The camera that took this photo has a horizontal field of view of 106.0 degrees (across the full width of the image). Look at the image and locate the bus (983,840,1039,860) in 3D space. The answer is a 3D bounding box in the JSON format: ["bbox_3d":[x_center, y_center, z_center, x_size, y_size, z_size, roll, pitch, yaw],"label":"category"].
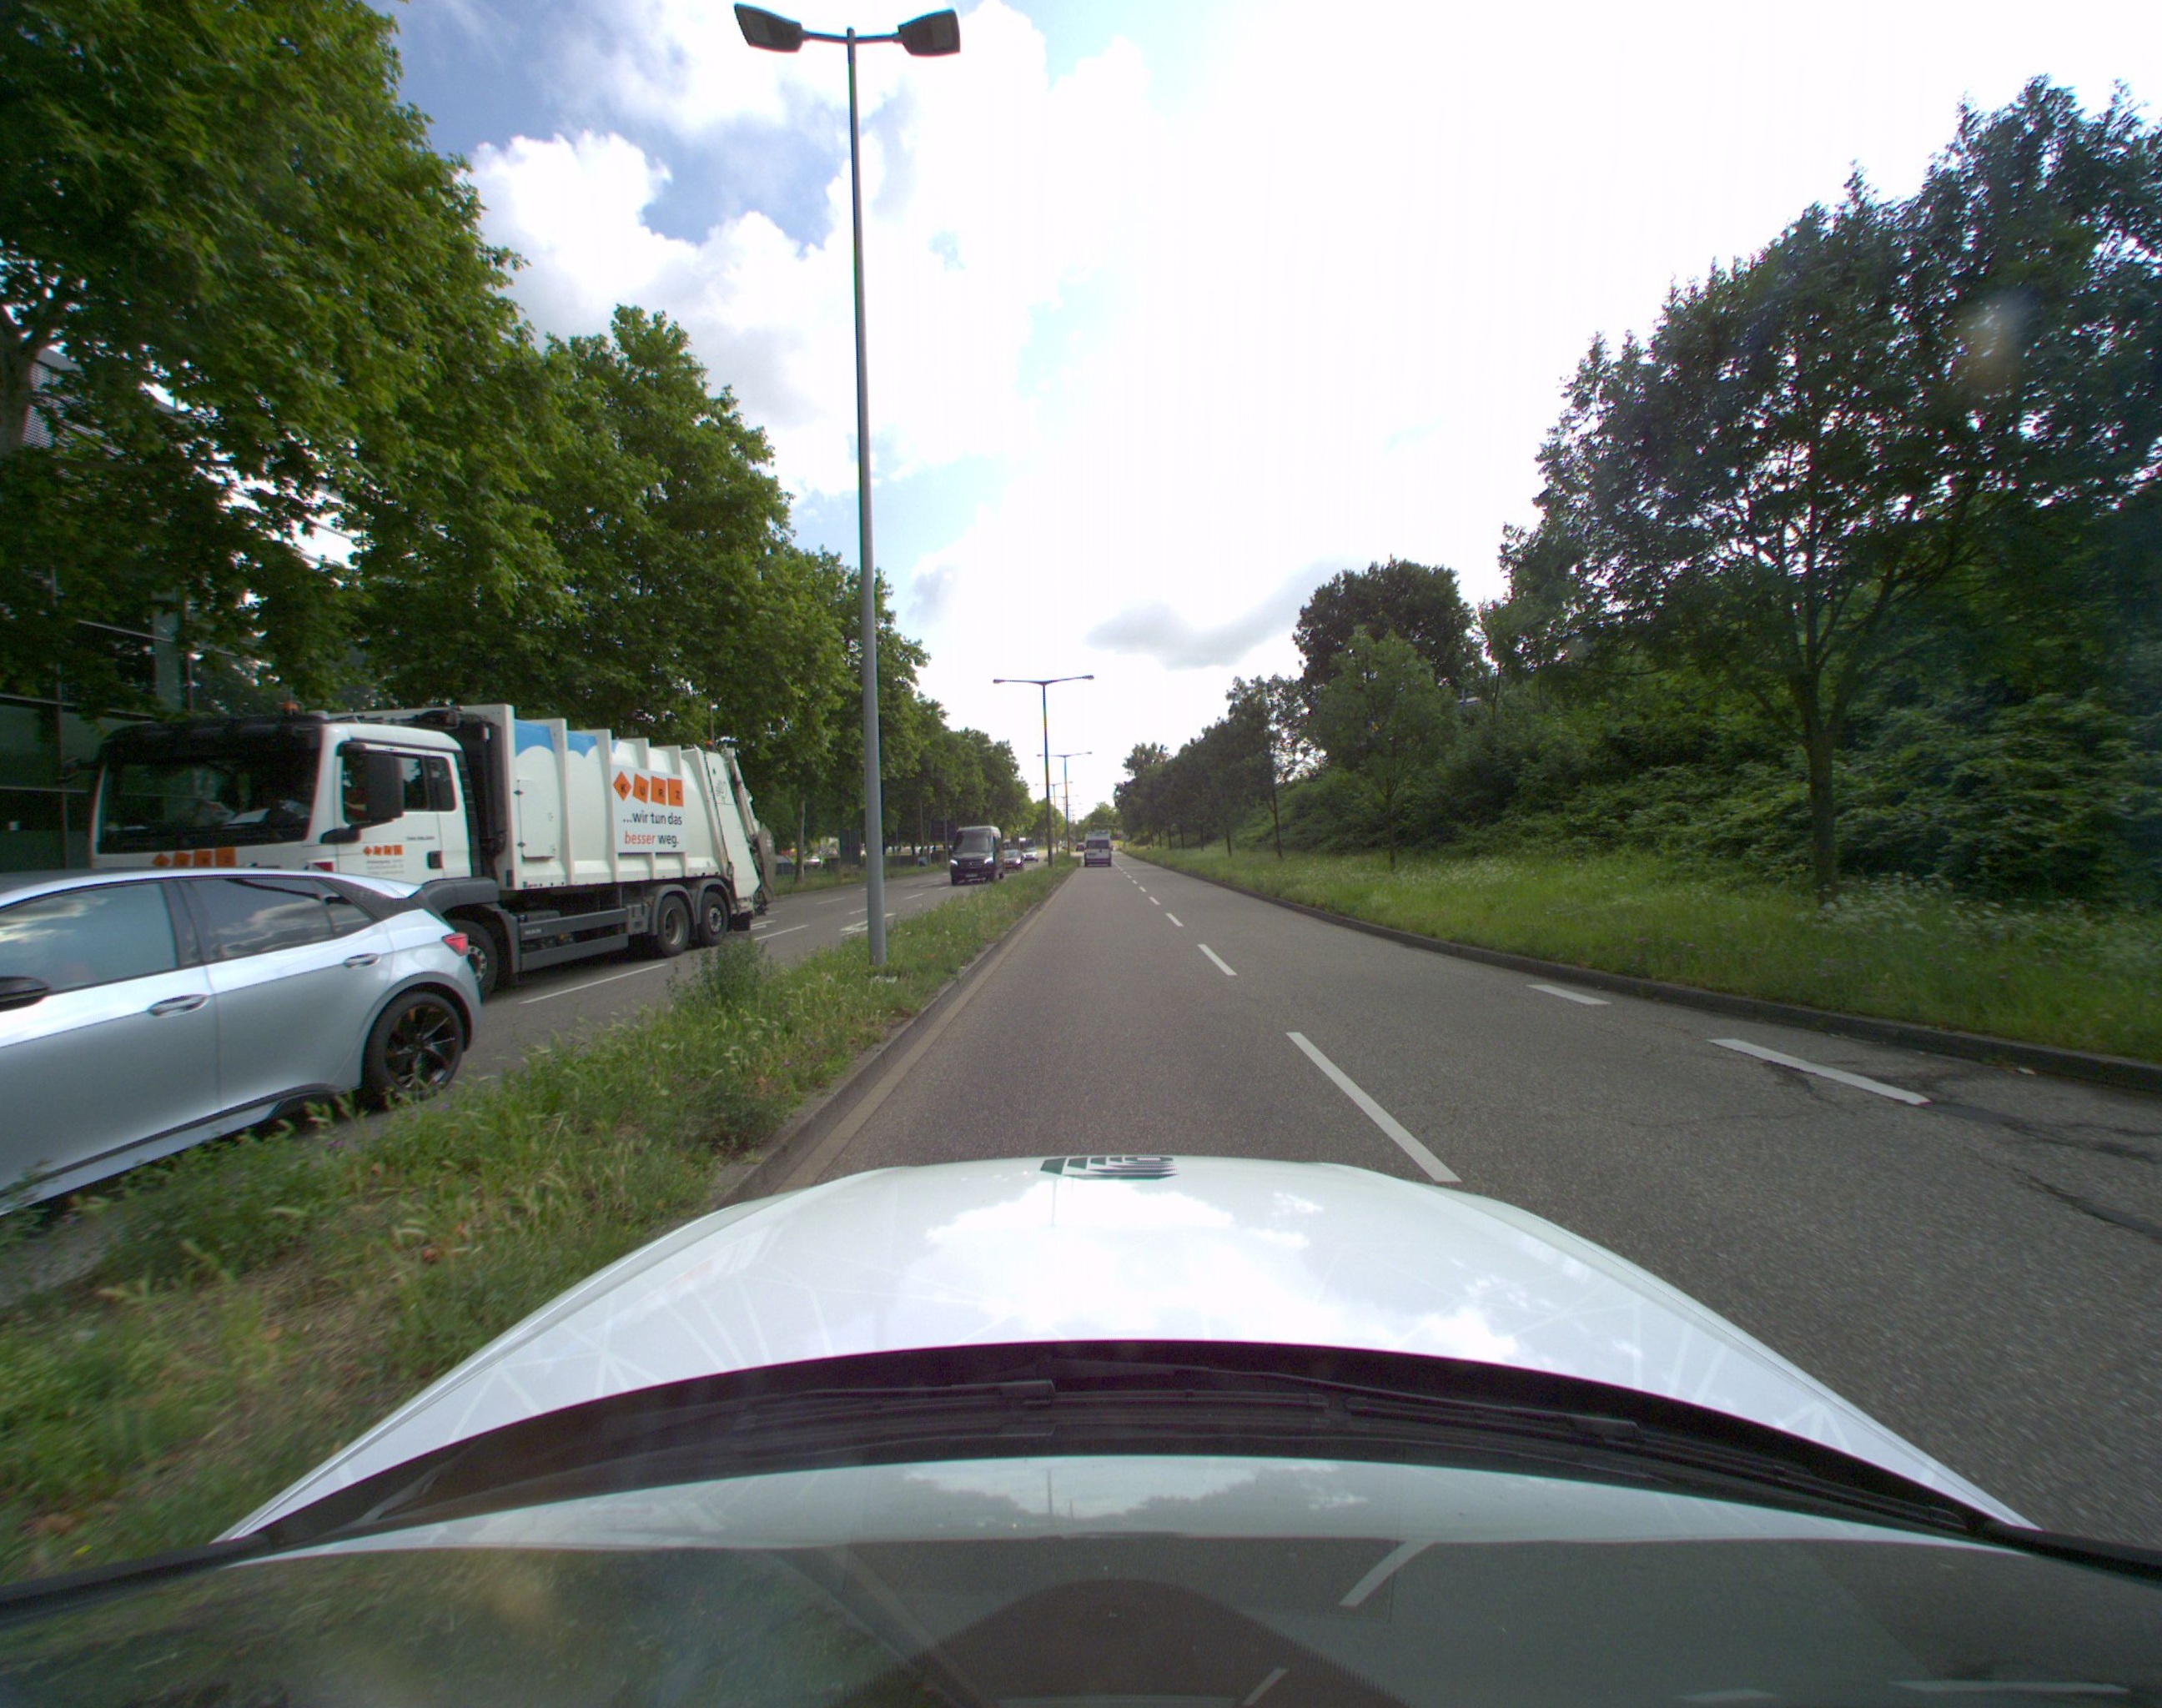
[{"bbox_3d":[-13.805,-0.742,160.380,12.178,3.275,3.139,-4,-2,40],"label":"bus"}]

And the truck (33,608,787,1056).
[{"bbox_3d":[-7.821,-0.227,12.342,2.640,3.887,10.163,-2,0,2],"label":"truck"}]

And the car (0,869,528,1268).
[{"bbox_3d":[-5.091,0.904,3.988,1.738,1.553,4.234,-4,-1,1],"label":"car"}]

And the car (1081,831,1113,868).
[{"bbox_3d":[1.175,-0.357,62.354,2.191,2.726,4.928,0,1,-2],"label":"car"}]

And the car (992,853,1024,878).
[{"bbox_3d":[-4.628,0.759,51.991,1.689,1.464,3.939,-3,-1,-1],"label":"car"}]

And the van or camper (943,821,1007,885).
[{"bbox_3d":[-4.840,-0.002,38.218,2.098,2.660,6.714,-3,-1,-1],"label":"van or camper"}]

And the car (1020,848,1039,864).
[{"bbox_3d":[-5.589,0.233,89.310,1.809,1.640,4.349,-4,-1,-1],"label":"car"}]
